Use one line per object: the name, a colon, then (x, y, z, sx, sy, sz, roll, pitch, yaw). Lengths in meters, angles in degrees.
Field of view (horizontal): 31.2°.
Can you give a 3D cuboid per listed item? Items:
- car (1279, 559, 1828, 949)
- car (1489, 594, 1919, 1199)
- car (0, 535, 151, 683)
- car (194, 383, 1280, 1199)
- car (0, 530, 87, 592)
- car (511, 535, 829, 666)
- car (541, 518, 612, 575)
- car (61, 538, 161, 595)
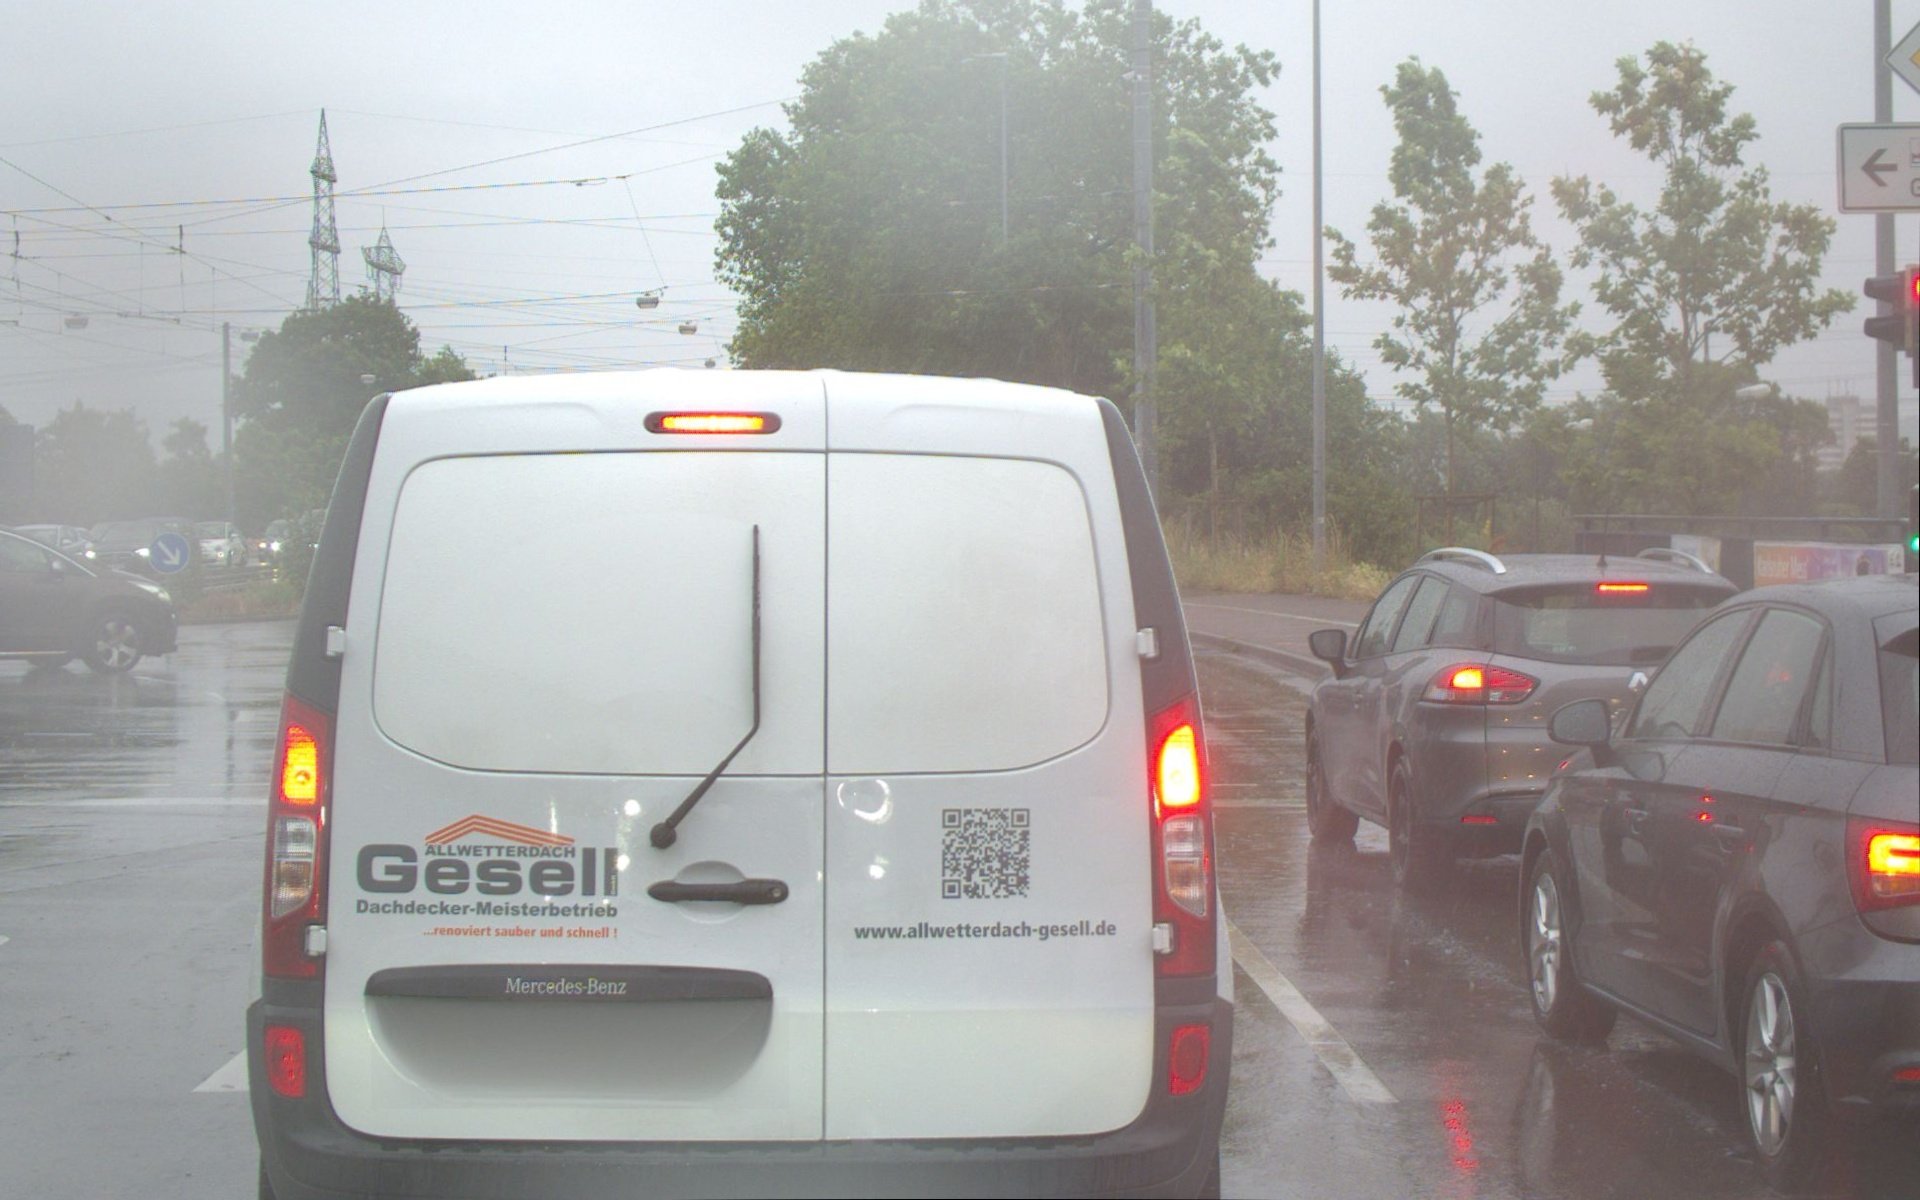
car: (2.527, 0.587, 15.546, 1.684, 1.503, 3.921, 1, 1, -1)
car: (2.540, 0.666, 8.929, 1.597, 1.362, 3.631, -1, 0, -3)
car: (-10.240, 0.027, 34.195, 3.912, 1.393, 1.536, 3, 1, -36)
car: (-0.507, 0.466, 7.687, 1.754, 1.744, 4.170, 1, 2, -4)
car: (-22.551, -0.941, 83.886, 1.559, 1.421, 3.569, 2, 0, -1)
car: (-3.509, 0.036, 42.446, 1.711, 1.496, 4.502, 2, 0, 28)
car: (-11.873, -1.637, 106.639, 1.947, 1.656, 4.465, 2, 0, -4)
car: (-22.535, -0.864, 91.348, 1.710, 1.421, 3.809, 2, 0, -1)
